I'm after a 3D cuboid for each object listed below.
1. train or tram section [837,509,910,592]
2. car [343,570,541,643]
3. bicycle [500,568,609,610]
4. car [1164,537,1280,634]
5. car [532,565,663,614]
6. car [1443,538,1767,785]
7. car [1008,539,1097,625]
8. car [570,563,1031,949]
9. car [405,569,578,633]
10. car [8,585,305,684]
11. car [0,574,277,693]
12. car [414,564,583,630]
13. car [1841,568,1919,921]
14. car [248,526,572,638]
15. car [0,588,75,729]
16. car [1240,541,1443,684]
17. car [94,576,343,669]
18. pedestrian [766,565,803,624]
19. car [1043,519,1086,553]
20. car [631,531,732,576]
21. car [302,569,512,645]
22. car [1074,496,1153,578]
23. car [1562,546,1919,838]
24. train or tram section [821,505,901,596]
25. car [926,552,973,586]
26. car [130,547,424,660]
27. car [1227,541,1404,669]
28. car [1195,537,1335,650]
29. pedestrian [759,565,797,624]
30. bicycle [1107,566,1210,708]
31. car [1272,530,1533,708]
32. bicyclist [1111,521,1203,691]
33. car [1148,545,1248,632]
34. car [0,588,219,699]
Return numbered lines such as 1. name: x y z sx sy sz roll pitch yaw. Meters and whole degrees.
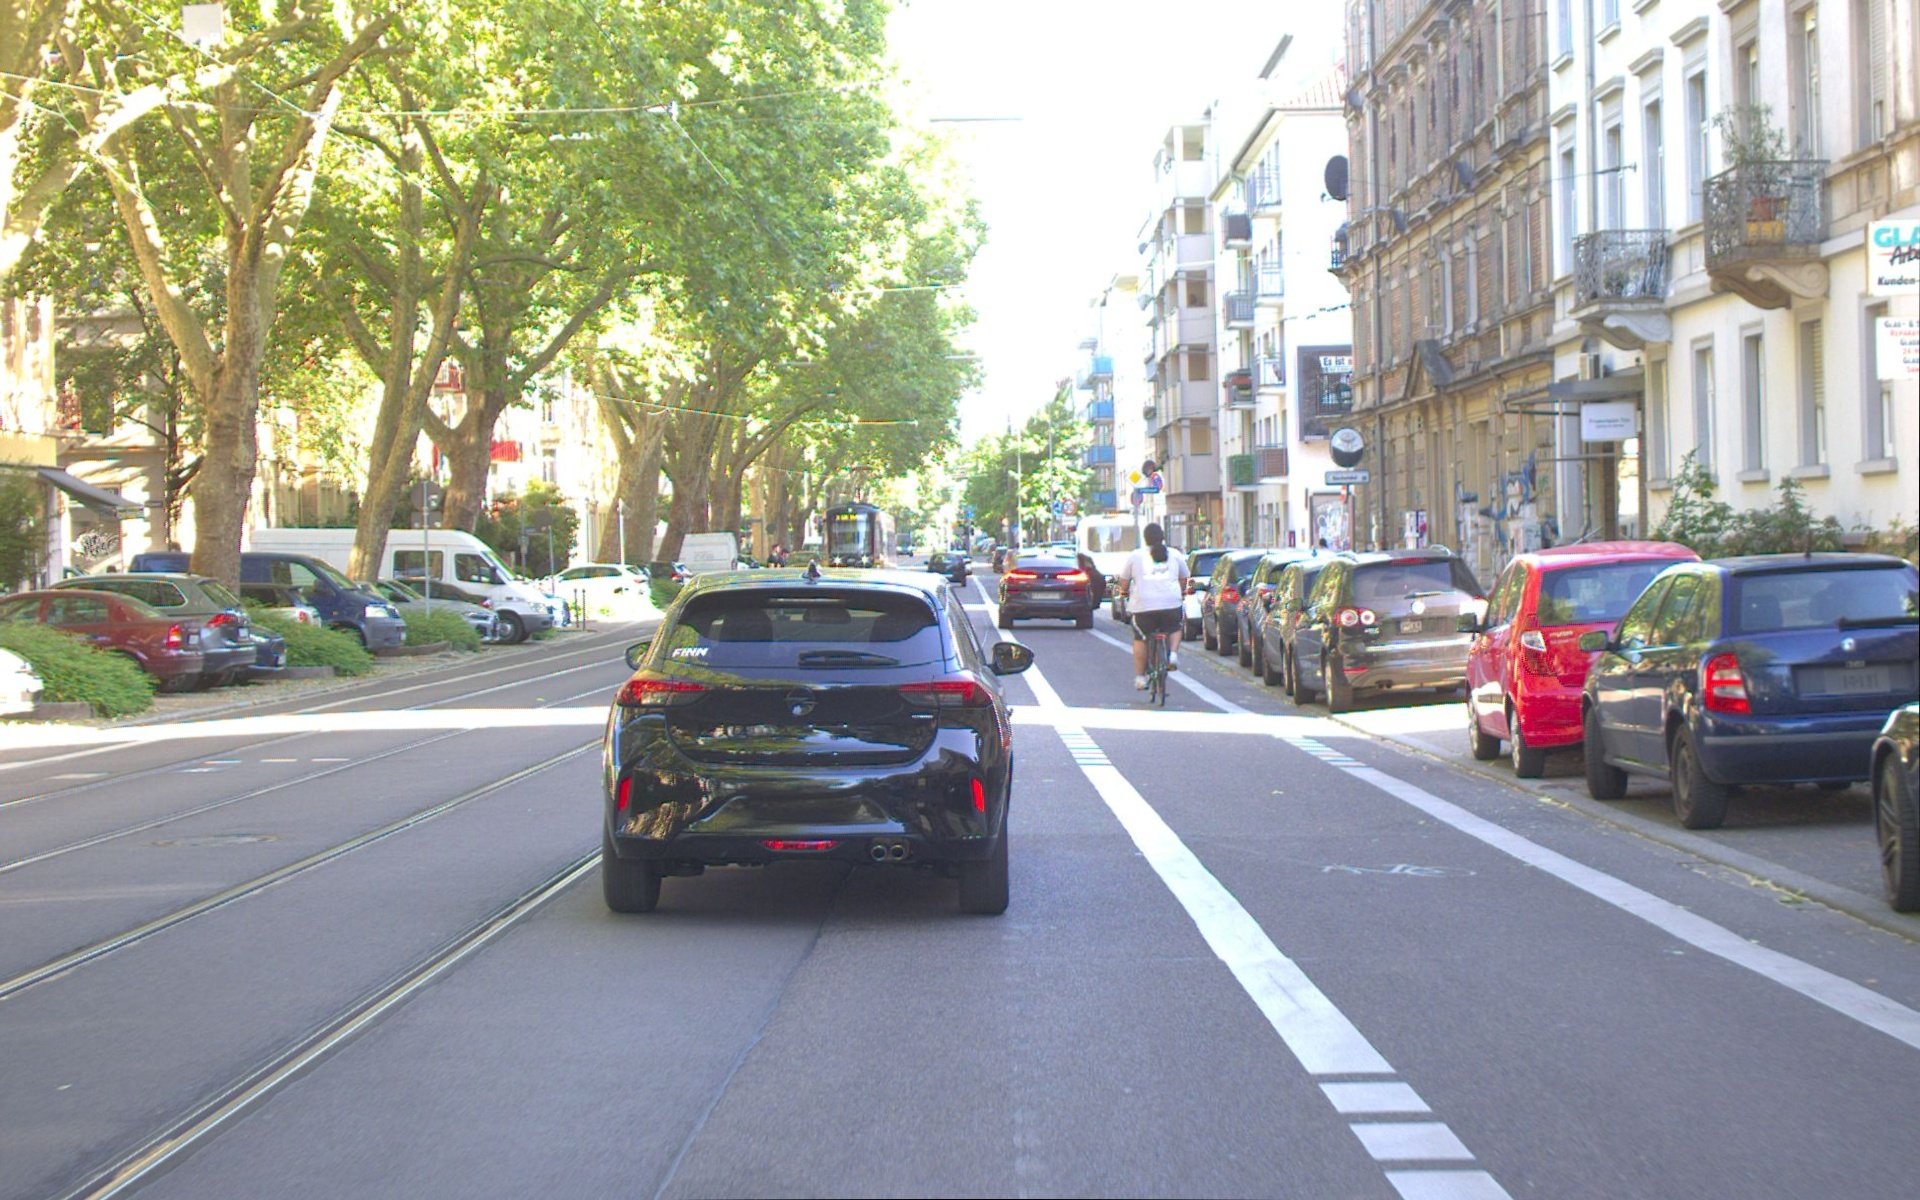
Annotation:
1. train or tram section: -4.035 -2.355 162.406 2.735 3.669 12.716 -2 1 1
2. car: -10.863 0.129 72.286 3.920 1.493 1.677 0 0 0
3. bicycle: -11.713 -0.322 99.250 2.945 1.165 0.989 -1 1 17
4. car: 4.527 -0.258 59.688 1.567 1.512 3.041 -5 1 -2
5. car: -11.116 -0.327 105.652 3.919 1.493 1.677 0 0 -2
6. car: 4.471 0.379 24.287 1.634 1.541 3.576 -3 1 1
7. car: 1.966 -0.400 73.368 1.810 1.736 3.933 -2 1 1
8. car: -0.635 0.599 15.360 1.794 1.436 3.531 -1 2 0
9. car: -11.064 0.011 81.303 3.919 1.493 1.677 0 0 -2
10. car: -11.680 0.489 50.155 3.919 1.417 1.819 0 1 -1
11. car: -11.677 0.449 47.749 3.994 1.621 1.879 0 0 0
12. car: -11.213 -0.084 83.702 3.919 1.572 1.677 0 0 -2
13. car: 4.615 0.564 12.525 1.694 1.388 4.494 -3 1 1
14. car: -11.899 -0.395 74.674 6.628 2.401 2.458 0 0 1
15. car: -11.728 0.660 36.959 3.920 1.457 1.806 -2 1 1
16. car: 4.402 0.117 40.175 1.798 1.451 3.768 -5 1 -1
17. car: -12.189 0.359 56.657 3.734 1.493 1.746 0 0 0
18. pedestrian: -4.771 -0.153 93.283 0.680 1.561 0.768 -1 1 28
19. car: 4.634 -2.831 152.787 1.810 1.333 3.933 -5 1 1
20. car: -10.992 -1.837 136.085 3.919 1.784 1.677 0 0 -2
21. car: -11.070 0.134 68.965 3.920 1.493 1.677 0 0 2
22. car: 4.543 -1.874 102.325 2.075 2.211 4.933 -5 1 1
23. car: 4.660 0.451 19.810 1.651 1.451 3.868 -3 1 0
24. train or tram section: -4.253 -2.164 149.780 2.735 3.669 12.716 -2 1 1
25. car: -0.407 -1.288 142.648 1.810 1.334 3.933 -1 1 1
26. car: -11.792 0.052 59.577 4.675 1.917 1.980 0 0 2
27. car: 4.607 0.032 45.026 1.880 1.451 4.025 -5 1 1
28. car: 4.501 -0.117 51.155 1.711 1.478 3.764 -5 1 1
29. pedestrian: -4.895 -0.139 92.470 0.680 1.561 0.768 -1 1 28
30. bicycle: 2.053 0.362 35.817 0.860 1.402 2.524 -1 1 -1
31. car: 4.516 0.172 35.631 1.880 1.580 3.933 -5 1 -3
32. bicyclist: 2.046 0.053 35.865 0.848 1.734 1.162 -1 1 -1
33. car: 4.458 -0.243 64.743 1.705 1.451 3.697 -5 1 3
34. car: -11.969 0.562 45.542 3.920 1.437 1.749 0 0 1
